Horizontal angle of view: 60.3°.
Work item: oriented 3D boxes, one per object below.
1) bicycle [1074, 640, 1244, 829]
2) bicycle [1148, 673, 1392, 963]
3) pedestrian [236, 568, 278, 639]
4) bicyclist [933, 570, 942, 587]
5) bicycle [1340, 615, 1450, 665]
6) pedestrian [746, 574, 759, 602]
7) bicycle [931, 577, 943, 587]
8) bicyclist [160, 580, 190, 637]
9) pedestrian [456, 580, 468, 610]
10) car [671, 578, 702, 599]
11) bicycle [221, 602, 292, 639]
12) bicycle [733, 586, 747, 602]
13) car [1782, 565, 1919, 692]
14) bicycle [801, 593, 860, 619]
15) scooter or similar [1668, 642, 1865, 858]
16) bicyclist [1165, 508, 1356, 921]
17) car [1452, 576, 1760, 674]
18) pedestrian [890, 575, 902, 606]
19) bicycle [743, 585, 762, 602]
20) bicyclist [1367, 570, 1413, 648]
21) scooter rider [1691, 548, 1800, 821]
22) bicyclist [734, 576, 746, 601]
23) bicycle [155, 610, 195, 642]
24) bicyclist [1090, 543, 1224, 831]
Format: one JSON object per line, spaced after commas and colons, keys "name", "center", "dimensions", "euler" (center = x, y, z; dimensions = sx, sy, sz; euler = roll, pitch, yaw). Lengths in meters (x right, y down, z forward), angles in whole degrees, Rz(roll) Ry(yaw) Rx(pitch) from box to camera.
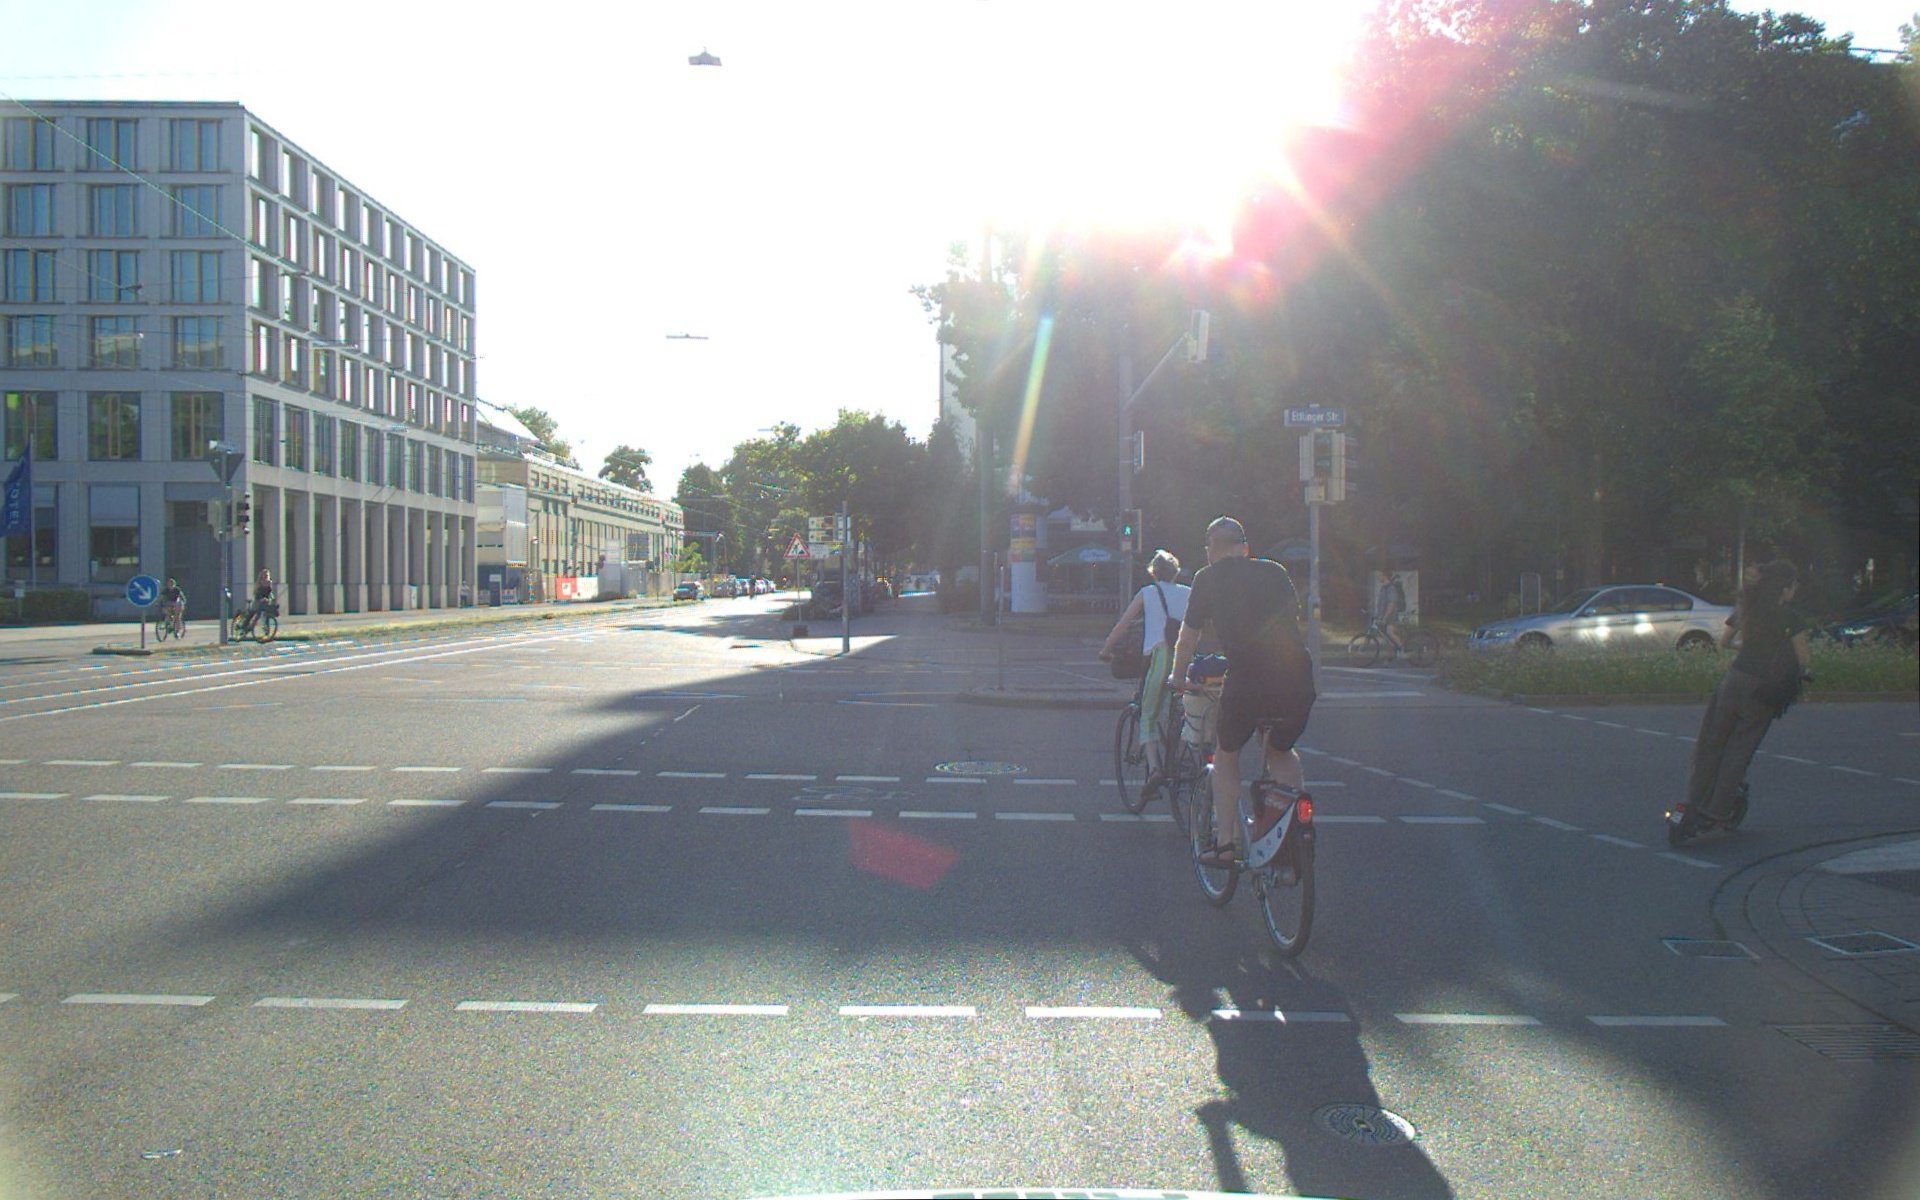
{"name": "bicycle", "center": [1.248, 0.820, 10.718], "dimensions": [0.572, 1.062, 1.742], "euler": [0, 0, -12]}
{"name": "bicycle", "center": [1.344, 0.908, 7.497], "dimensions": [0.611, 1.062, 1.745], "euler": [0, 0, -6]}
{"name": "pedestrian", "center": [-16.285, 0.079, 38.319], "dimensions": [0.727, 1.623, 0.573], "euler": [0, 0, 26]}
{"name": "bicyclist", "center": [-2.641, -2.524, 194.776], "dimensions": [0.875, 2.049, 0.746], "euler": [1, 0, -12]}
{"name": "bicycle", "center": [8.145, 0.748, 31.048], "dimensions": [1.902, 0.905, 0.718], "euler": [1, 0, 5]}
{"name": "pedestrian", "center": [-15.378, -0.891, 122.696], "dimensions": [0.735, 2.099, 1.050], "euler": [1, 0, 5]}
{"name": "bicycle", "center": [-2.675, -2.114, 194.902], "dimensions": [0.875, 1.240, 2.785], "euler": [1, 0, -12]}
{"name": "bicyclist", "center": [-21.207, 0.236, 44.694], "dimensions": [0.484, 1.525, 0.666], "euler": [-1, 0, 2]}
{"name": "pedestrian", "center": [-32.439, -0.346, 107.749], "dimensions": [0.576, 1.922, 0.478], "euler": [1, 0, 26]}
{"name": "car", "center": [-21.475, -0.887, 130.019], "dimensions": [1.954, 1.627, 3.997], "euler": [-1, 0, -3]}
{"name": "bicycle", "center": [-16.315, 0.476, 38.335], "dimensions": [1.679, 0.837, 0.573], "euler": [0, 0, 27]}
{"name": "bicycle", "center": [-17.149, -0.490, 128.774], "dimensions": [0.735, 1.226, 3.107], "euler": [1, 0, -2]}
{"name": "car", "center": [16.337, 0.479, 27.934], "dimensions": [3.905, 2.049, 2.000], "euler": [1, 0, 0]}
{"name": "bicycle", "center": [-4.838, 0.215, 61.701], "dimensions": [2.201, 0.956, 0.653], "euler": [-1, 0, -6]}
{"name": "scooter or similar", "center": [4.815, 0.861, 9.948], "dimensions": [0.561, 1.170, 1.272], "euler": [1, 0, 0]}
{"name": "bicyclist", "center": [1.335, 0.480, 7.479], "dimensions": [0.611, 1.745, 0.911], "euler": [0, 0, -6]}
{"name": "car", "center": [10.959, 0.415, 28.285], "dimensions": [4.483, 1.543, 2.000], "euler": [1, 0, -1]}
{"name": "pedestrian", "center": [-3.565, -0.529, 92.157], "dimensions": [0.566, 1.719, 0.584], "euler": [0, 0, -8]}
{"name": "bicycle", "center": [-15.393, -0.487, 122.629], "dimensions": [0.735, 1.226, 3.110], "euler": [1, 0, 5]}
{"name": "bicyclist", "center": [8.066, 0.173, 31.053], "dimensions": [0.731, 1.431, 0.702], "euler": [1, 0, 6]}
{"name": "scooter rider", "center": [4.769, 0.494, 10.035], "dimensions": [0.535, 1.590, 0.575], "euler": [0, 0, 33]}
{"name": "bicyclist", "center": [-17.139, -0.883, 128.810], "dimensions": [0.735, 1.953, 1.214], "euler": [1, 0, -2]}
{"name": "bicycle", "center": [-21.207, 0.695, 44.696], "dimensions": [0.484, 0.854, 1.156], "euler": [-1, 0, 2]}
{"name": "bicyclist", "center": [1.257, 0.530, 10.685], "dimensions": [0.573, 1.769, 0.947], "euler": [0, 0, -12]}
